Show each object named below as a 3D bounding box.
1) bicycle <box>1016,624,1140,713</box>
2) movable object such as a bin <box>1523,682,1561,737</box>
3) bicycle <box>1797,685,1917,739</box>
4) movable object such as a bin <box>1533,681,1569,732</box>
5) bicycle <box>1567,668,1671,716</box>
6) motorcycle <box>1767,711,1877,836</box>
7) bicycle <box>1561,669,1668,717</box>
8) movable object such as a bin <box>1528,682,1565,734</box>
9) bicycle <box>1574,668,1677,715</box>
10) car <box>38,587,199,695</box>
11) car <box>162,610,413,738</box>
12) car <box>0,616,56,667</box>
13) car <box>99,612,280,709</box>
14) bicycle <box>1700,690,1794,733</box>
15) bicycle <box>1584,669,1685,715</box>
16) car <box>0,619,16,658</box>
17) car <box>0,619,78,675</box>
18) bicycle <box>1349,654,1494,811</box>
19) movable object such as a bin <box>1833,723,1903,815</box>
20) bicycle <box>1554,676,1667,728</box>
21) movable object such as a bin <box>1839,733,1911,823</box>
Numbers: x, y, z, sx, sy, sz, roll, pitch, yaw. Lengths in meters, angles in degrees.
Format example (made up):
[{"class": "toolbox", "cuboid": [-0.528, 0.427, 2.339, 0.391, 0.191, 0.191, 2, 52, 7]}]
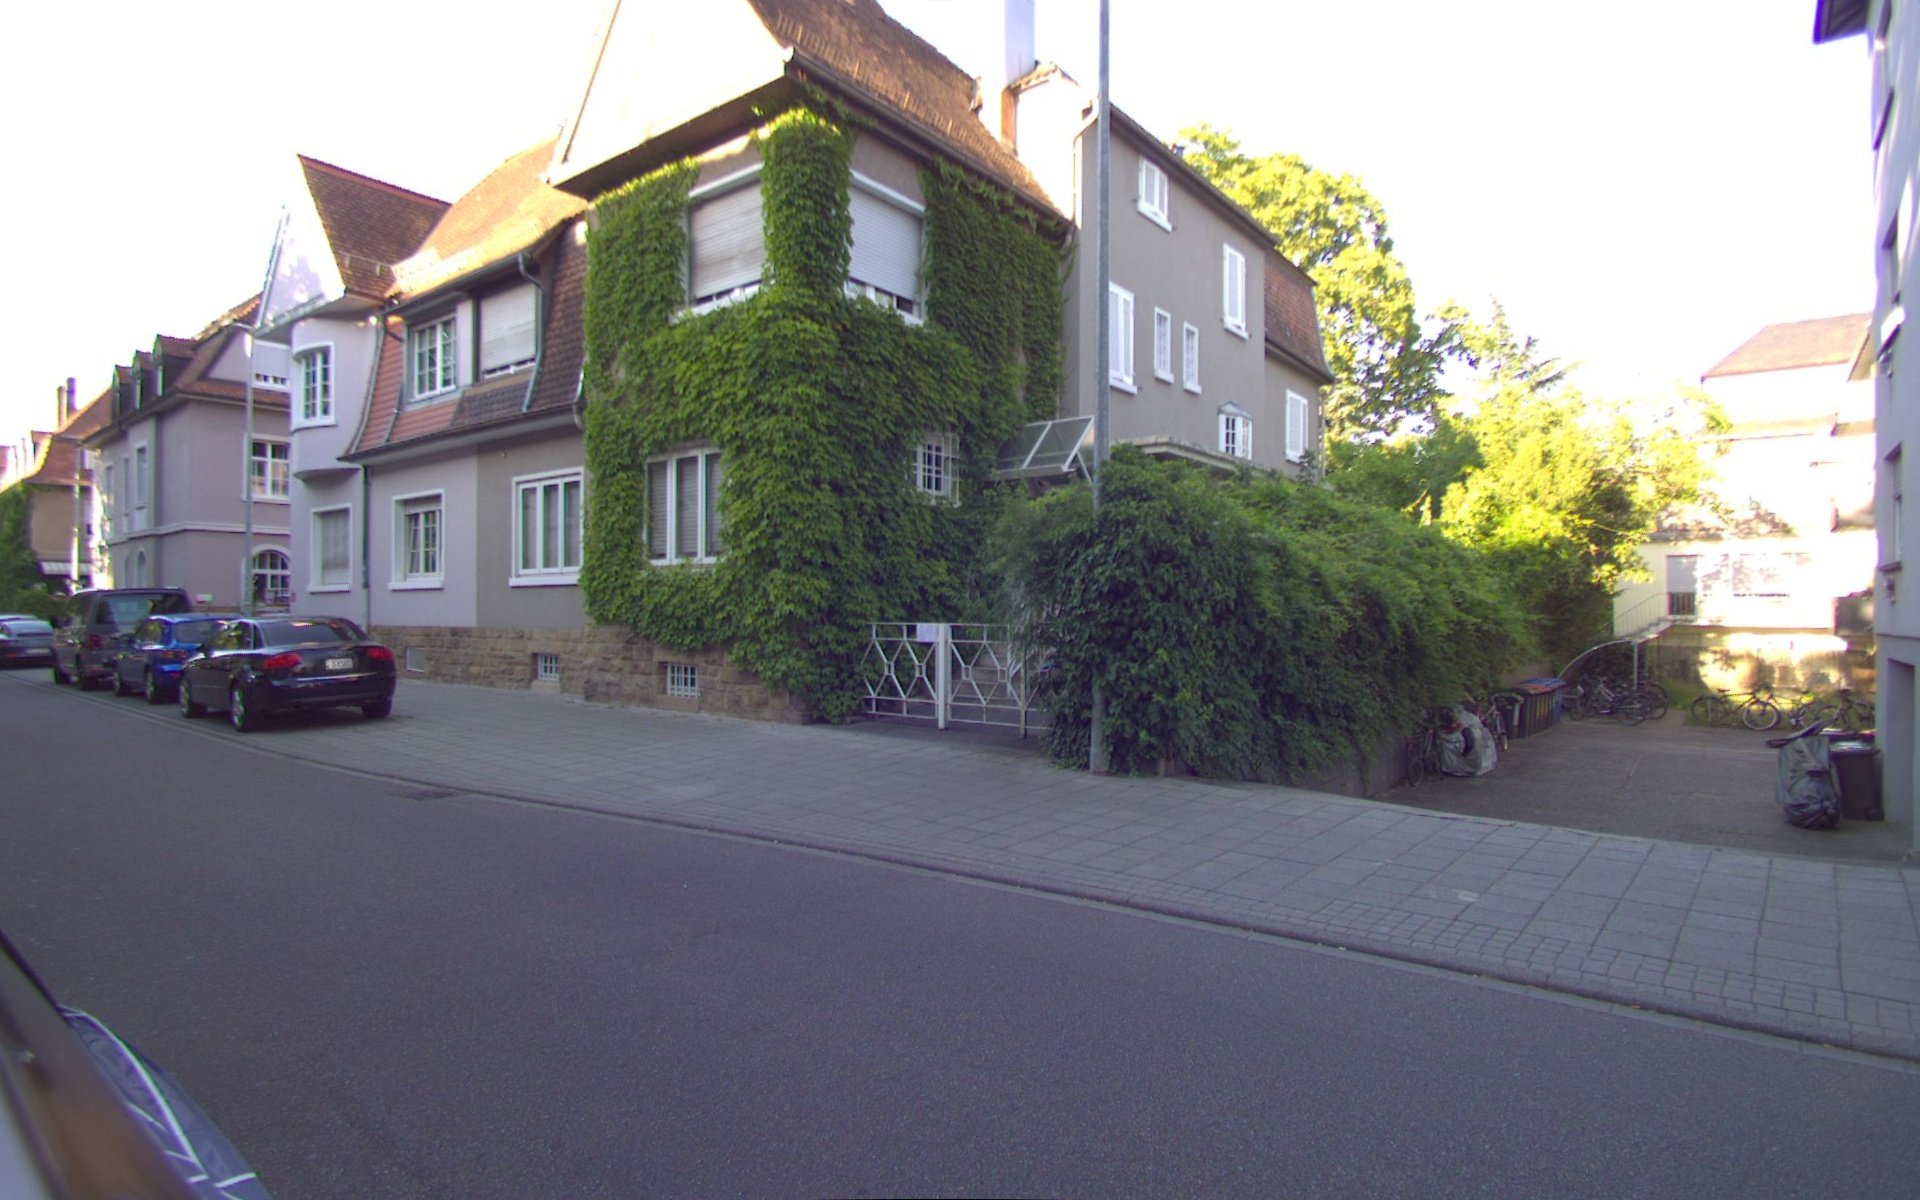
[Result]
[{"class": "bicycle", "cuboid": [1.696, 0.920, 14.182, 0.476, 1.111, 2.172, -1, -1, 45]}, {"class": "movable object such as a bin", "cuboid": [12.695, 2.374, 22.071, 0.611, 1.123, 0.792, -1, -4, 37]}, {"class": "bicycle", "cuboid": [20.364, 2.534, 23.024, 2.005, 1.080, 0.558, -1, -4, 42]}, {"class": "movable object such as a bin", "cuboid": [13.642, 2.442, 23.345, 0.611, 1.123, 0.792, -1, -4, 37]}, {"class": "bicycle", "cuboid": [18.051, 2.495, 27.765, 2.338, 1.186, 0.685, -1, -4, 42]}, {"class": "motorcycle", "cuboid": [10.702, 2.110, 12.622, 0.742, 1.305, 1.565, -1, -2, 30]}, {"class": "bicycle", "cuboid": [17.500, 2.471, 27.113, 2.338, 1.142, 0.685, -1, -4, 42]}, {"class": "movable object such as a bin", "cuboid": [13.171, 2.409, 22.714, 0.611, 1.123, 0.792, -1, -4, 37]}, {"class": "bicycle", "cuboid": [18.610, 2.542, 28.333, 2.338, 1.186, 0.685, -1, -4, 42]}, {"class": "car", "cuboid": [-17.531, 0.785, 21.010, 4.610, 1.990, 1.819, -1, 1, 41]}, {"class": "car", "cuboid": [-9.434, 0.908, 14.053, 4.426, 1.457, 1.783, -1, 1, 41]}, {"class": "car", "cuboid": [-30.180, 1.294, 32.025, 4.061, 1.478, 1.907, -1, 1, 42]}, {"class": "car", "cuboid": [-13.643, 0.979, 17.841, 4.060, 1.457, 1.745, -1, 1, 41]}, {"class": "bicycle", "cuboid": [18.887, 2.659, 24.299, 1.754, 0.886, 0.558, -1, -4, 42]}, {"class": "bicycle", "cuboid": [19.193, 2.594, 28.828, 2.338, 1.186, 0.685, -1, -4, 42]}, {"class": "car", "cuboid": [-36.332, 1.439, 37.502, 3.676, 1.372, 1.641, -1, 1, 42]}, {"class": "car", "cuboid": [-26.166, 1.264, 28.291, 4.063, 1.394, 1.906, -1, 1, 44]}, {"class": "bicycle", "cuboid": [6.818, 1.779, 14.750, 0.971, 1.907, 4.138, -1, -3, 38]}, {"class": "movable object such as a bin", "cuboid": [12.293, 2.270, 13.725, 0.611, 1.123, 0.792, -1, -4, 37]}, {"class": "bicycle", "cuboid": [16.234, 2.516, 25.300, 2.294, 1.142, 0.685, -1, -4, 42]}, {"class": "movable object such as a bin", "cuboid": [11.711, 2.265, 12.963, 0.611, 1.045, 0.532, -1, -4, 37]}]
